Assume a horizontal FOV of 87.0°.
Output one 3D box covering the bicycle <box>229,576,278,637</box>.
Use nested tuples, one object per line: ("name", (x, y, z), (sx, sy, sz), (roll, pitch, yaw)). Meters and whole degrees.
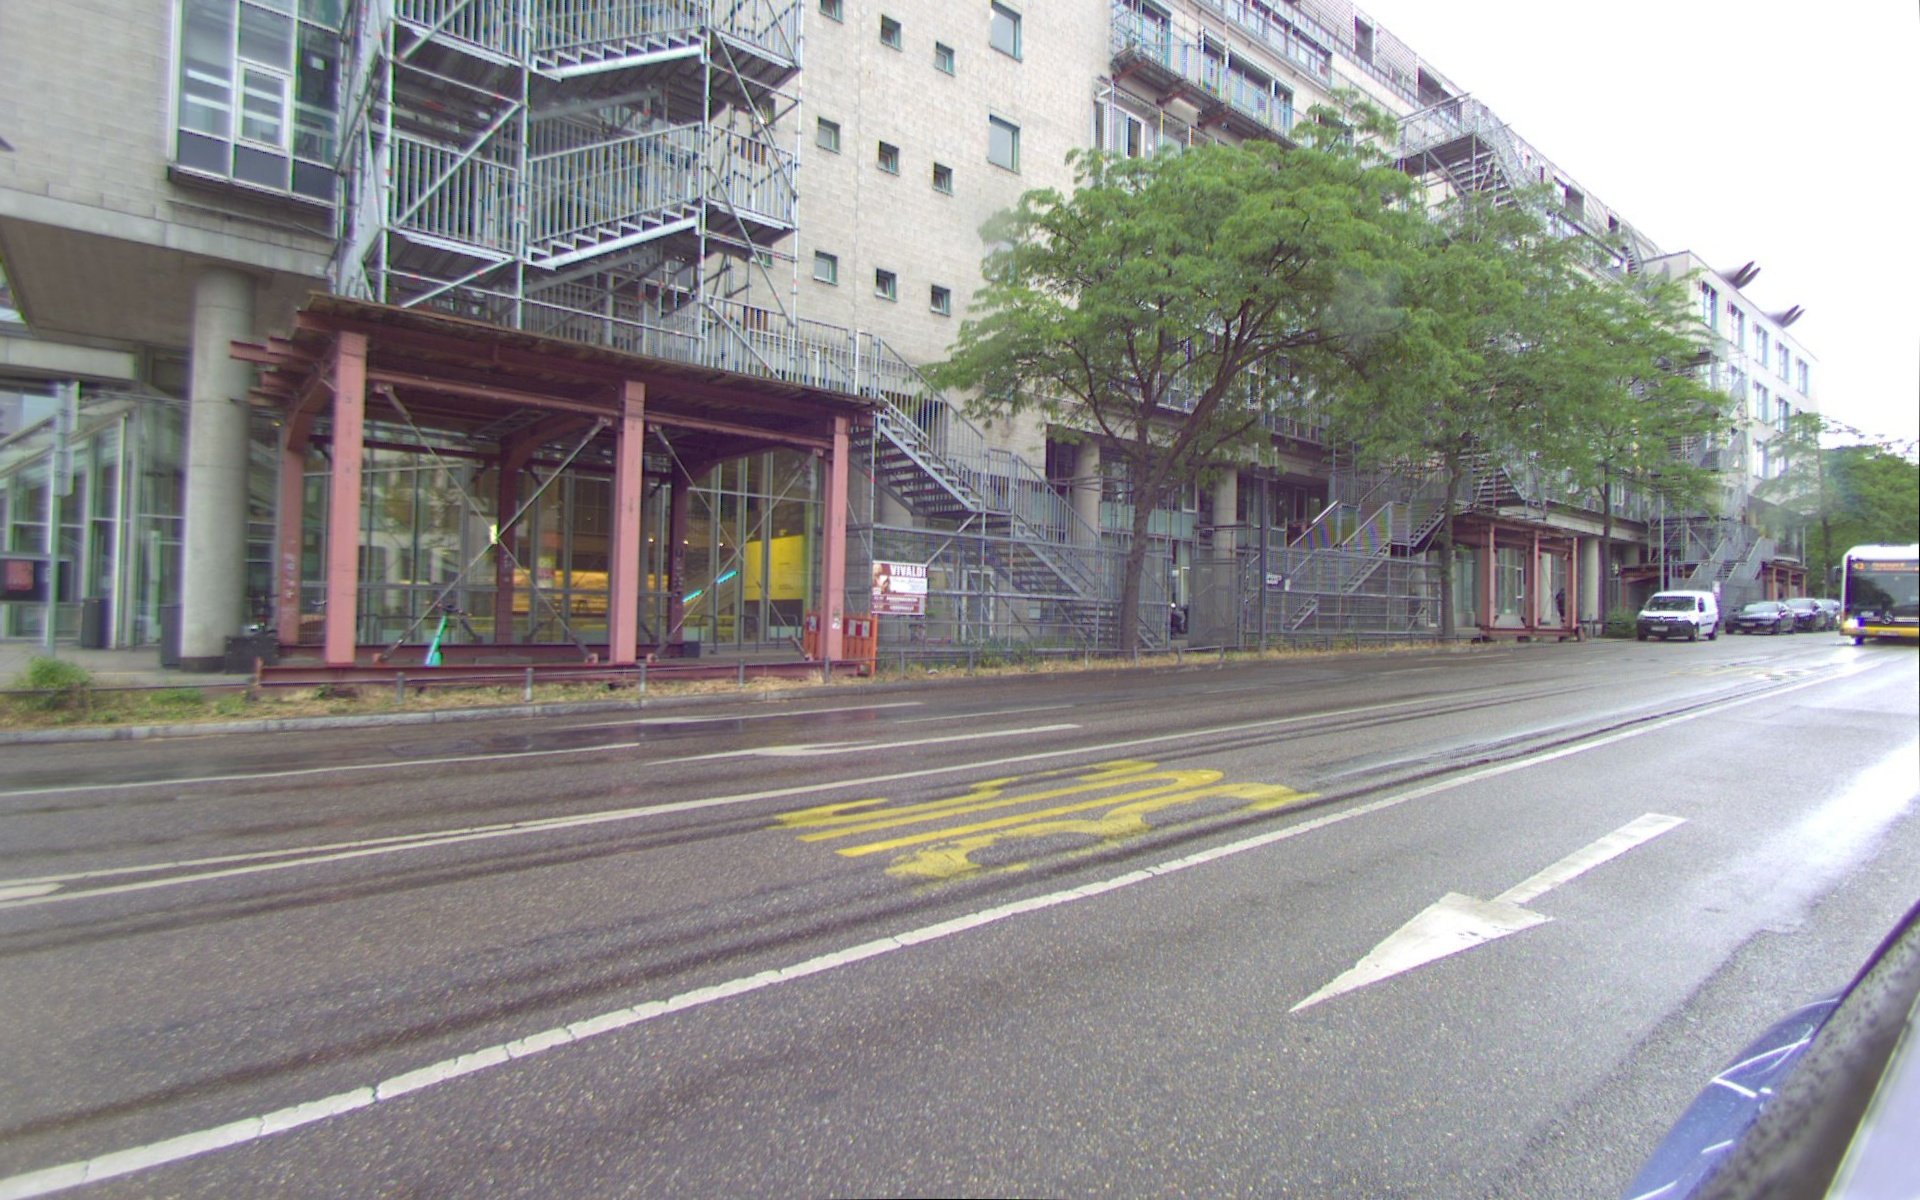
("bicycle", (-14.476, 0.120, 20.727), (0.577, 1.209, 1.611), (0, 0, -44))

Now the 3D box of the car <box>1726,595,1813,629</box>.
("car", (35.093, 0.463, 43.823), (4.733, 1.353, 2.145), (-1, 1, -41))

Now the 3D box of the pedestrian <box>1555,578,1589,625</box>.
("pedestrian", (27.283, 0.061, 45.125), (1.021, 2.039, 1.009), (0, 0, -41))

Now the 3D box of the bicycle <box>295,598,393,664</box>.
("bicycle", (-11.985, 0.579, 19.743), (0.580, 1.209, 1.602), (0, 0, 24))

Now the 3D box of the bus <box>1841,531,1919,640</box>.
("bus", (34.140, -0.514, 36.023), (9.586, 3.494, 2.888), (-1, 0, -41))

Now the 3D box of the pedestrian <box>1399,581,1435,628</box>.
("pedestrian", (17.874, 0.172, 39.621), (0.831, 1.822, 1.009), (0, 0, -38))

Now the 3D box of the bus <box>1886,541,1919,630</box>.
("bus", (41.371, -0.607, 42.271), (9.541, 3.483, 2.888), (-1, 0, -41))

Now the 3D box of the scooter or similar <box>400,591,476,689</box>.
("scooter or similar", (-6.937, 0.492, 13.419), (0.576, 1.209, 1.782), (1, 0, -38))

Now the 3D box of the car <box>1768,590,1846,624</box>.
("car", (40.248, 0.319, 48.074), (4.733, 1.513, 2.145), (-1, 1, -41))

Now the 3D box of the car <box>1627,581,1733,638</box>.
("car", (26.068, 0.295, 36.595), (4.254, 1.930, 2.211), (-1, 0, -41))

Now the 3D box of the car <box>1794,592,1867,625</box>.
("car", (44.360, 0.379, 51.535), (4.733, 1.580, 2.145), (-1, 1, -41))
